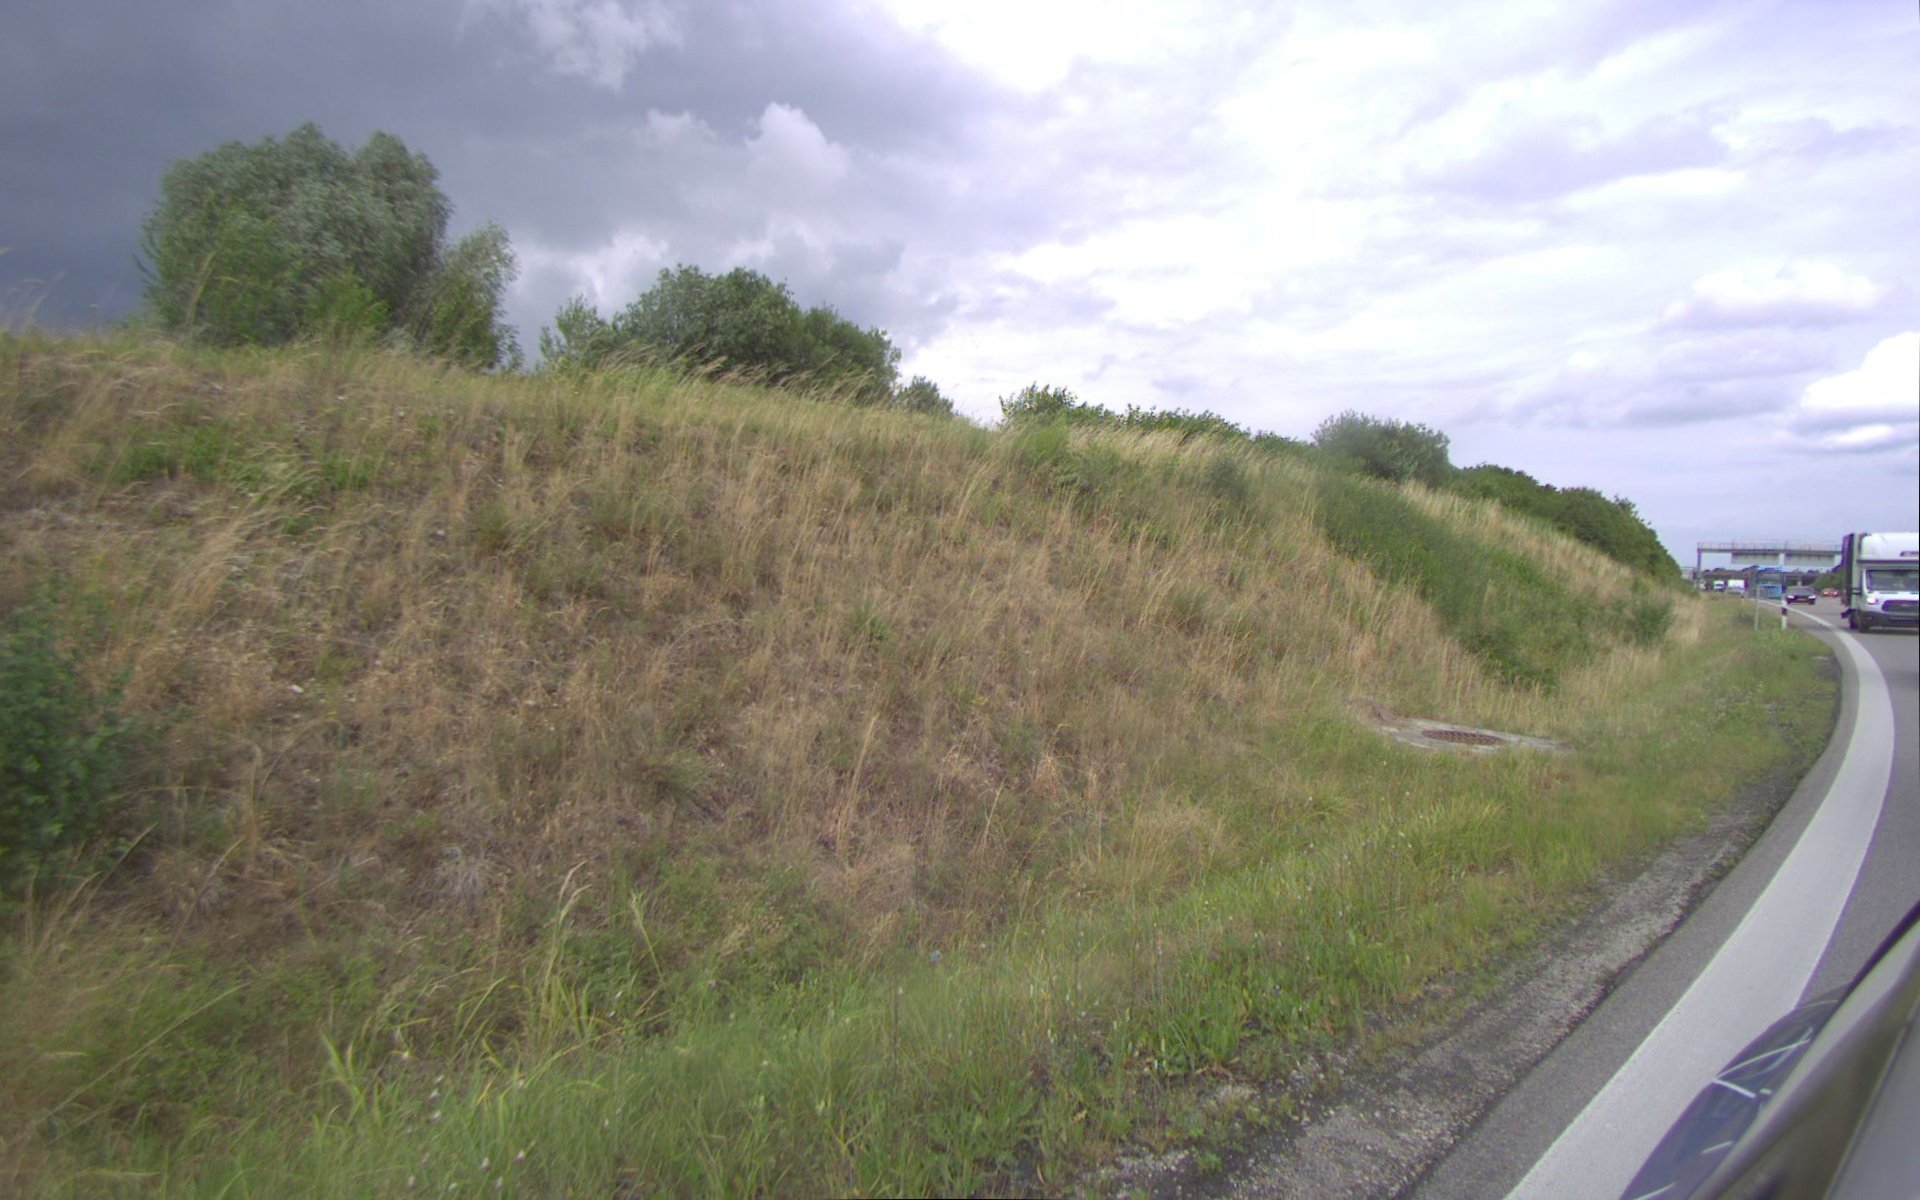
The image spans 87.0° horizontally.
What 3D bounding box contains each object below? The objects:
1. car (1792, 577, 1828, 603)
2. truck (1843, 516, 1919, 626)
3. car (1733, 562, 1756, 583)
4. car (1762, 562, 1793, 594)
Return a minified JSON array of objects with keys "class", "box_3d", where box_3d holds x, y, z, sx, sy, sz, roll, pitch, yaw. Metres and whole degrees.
[{"class":"car","box_3d":[69.756,-0.854,83.105,1.989,2.038,3.947,2,2,37]},{"class":"truck","box_3d":[30.642,-0.921,32.867,2.437,3.275,7.095,2,2,37]},{"class":"car","box_3d":[134.770,-4.742,173.989,2.931,3.509,6.484,2,2,37]},{"class":"car","box_3d":[97.048,-2.626,120.174,2.492,3.757,7.600,2,2,37]}]
